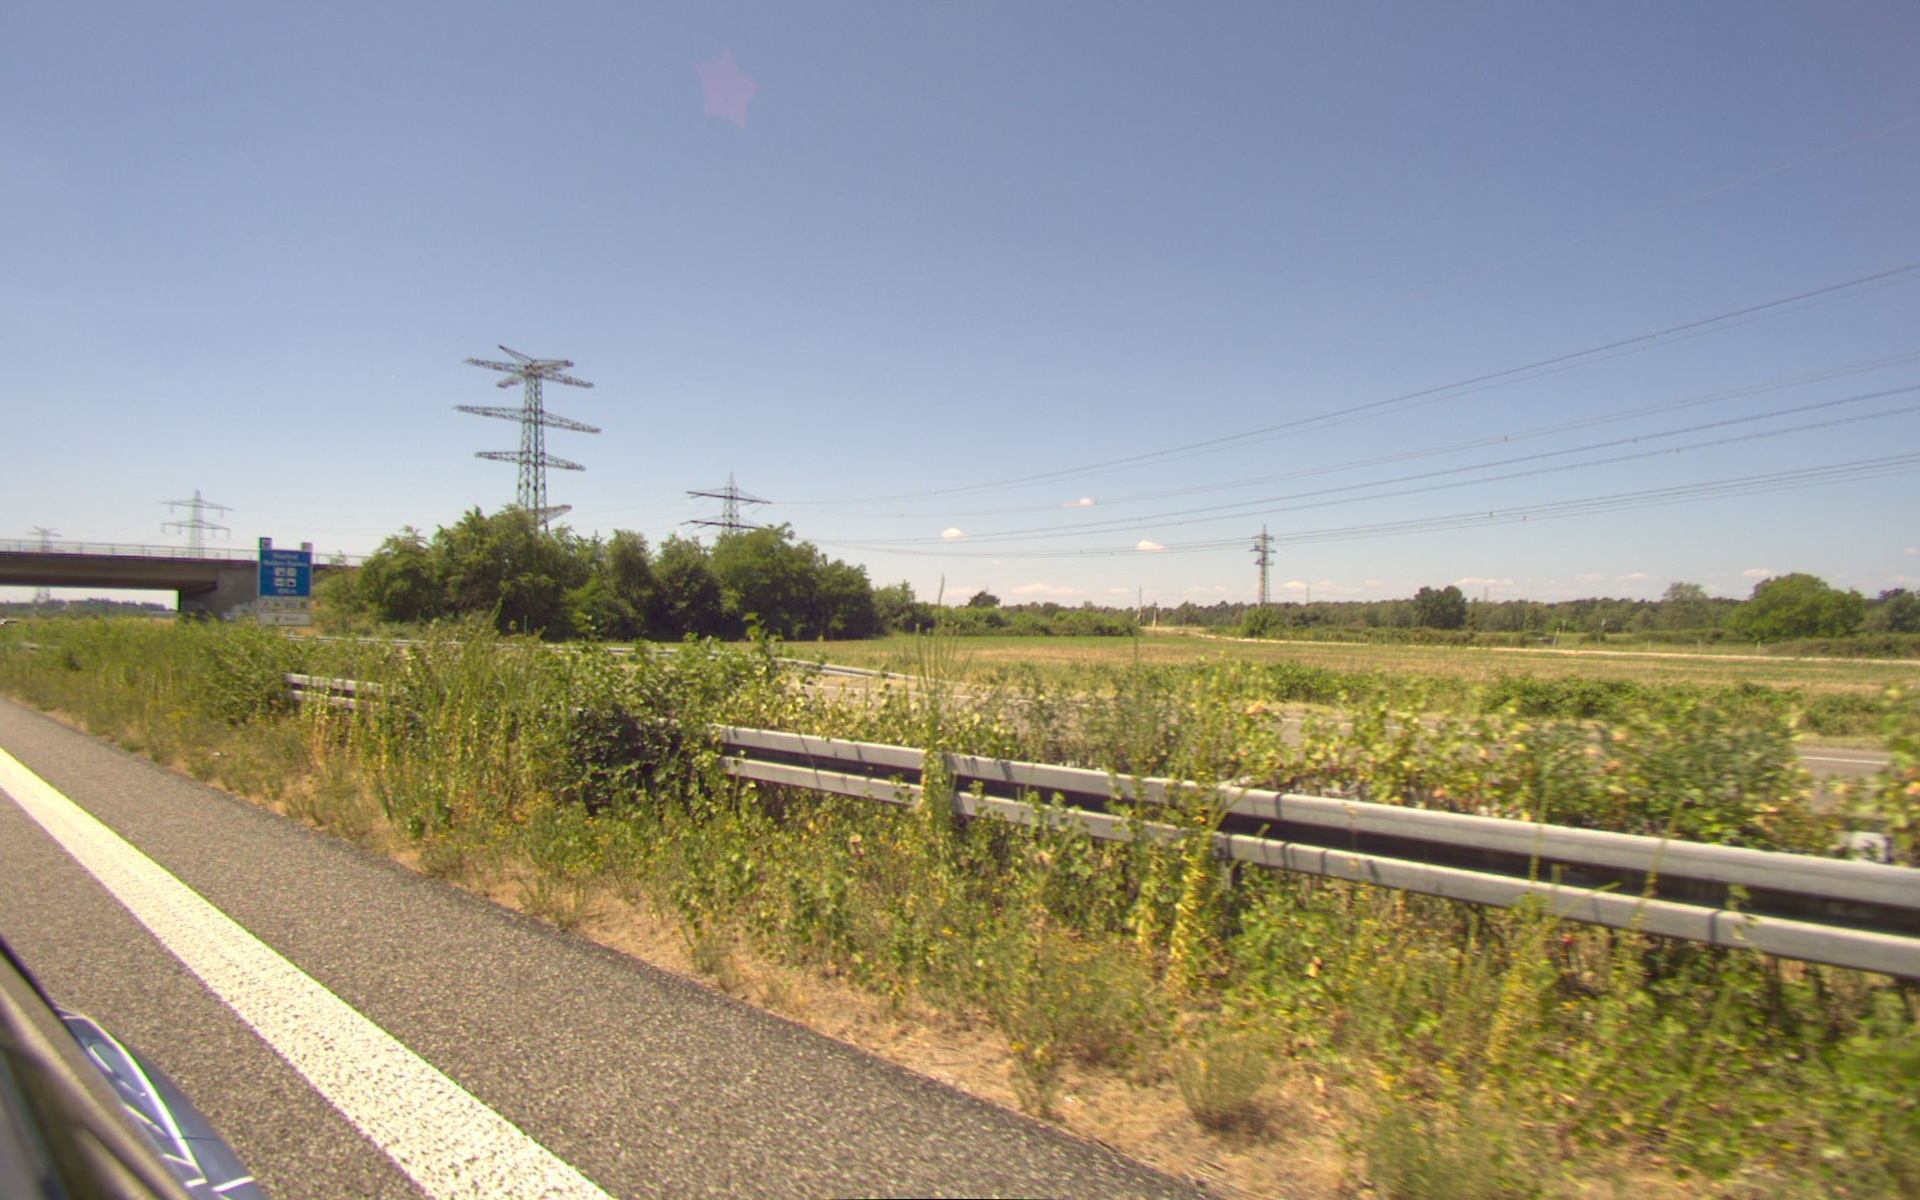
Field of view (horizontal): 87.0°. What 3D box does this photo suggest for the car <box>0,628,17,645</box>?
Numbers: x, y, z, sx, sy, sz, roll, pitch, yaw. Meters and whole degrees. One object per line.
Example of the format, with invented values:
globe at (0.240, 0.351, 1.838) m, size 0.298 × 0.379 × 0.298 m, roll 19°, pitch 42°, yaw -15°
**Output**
car at (-96.462, 3.672, 101.853) m, size 4.010 × 1.664 × 1.822 m, roll -2°, pitch -1°, yaw 41°
